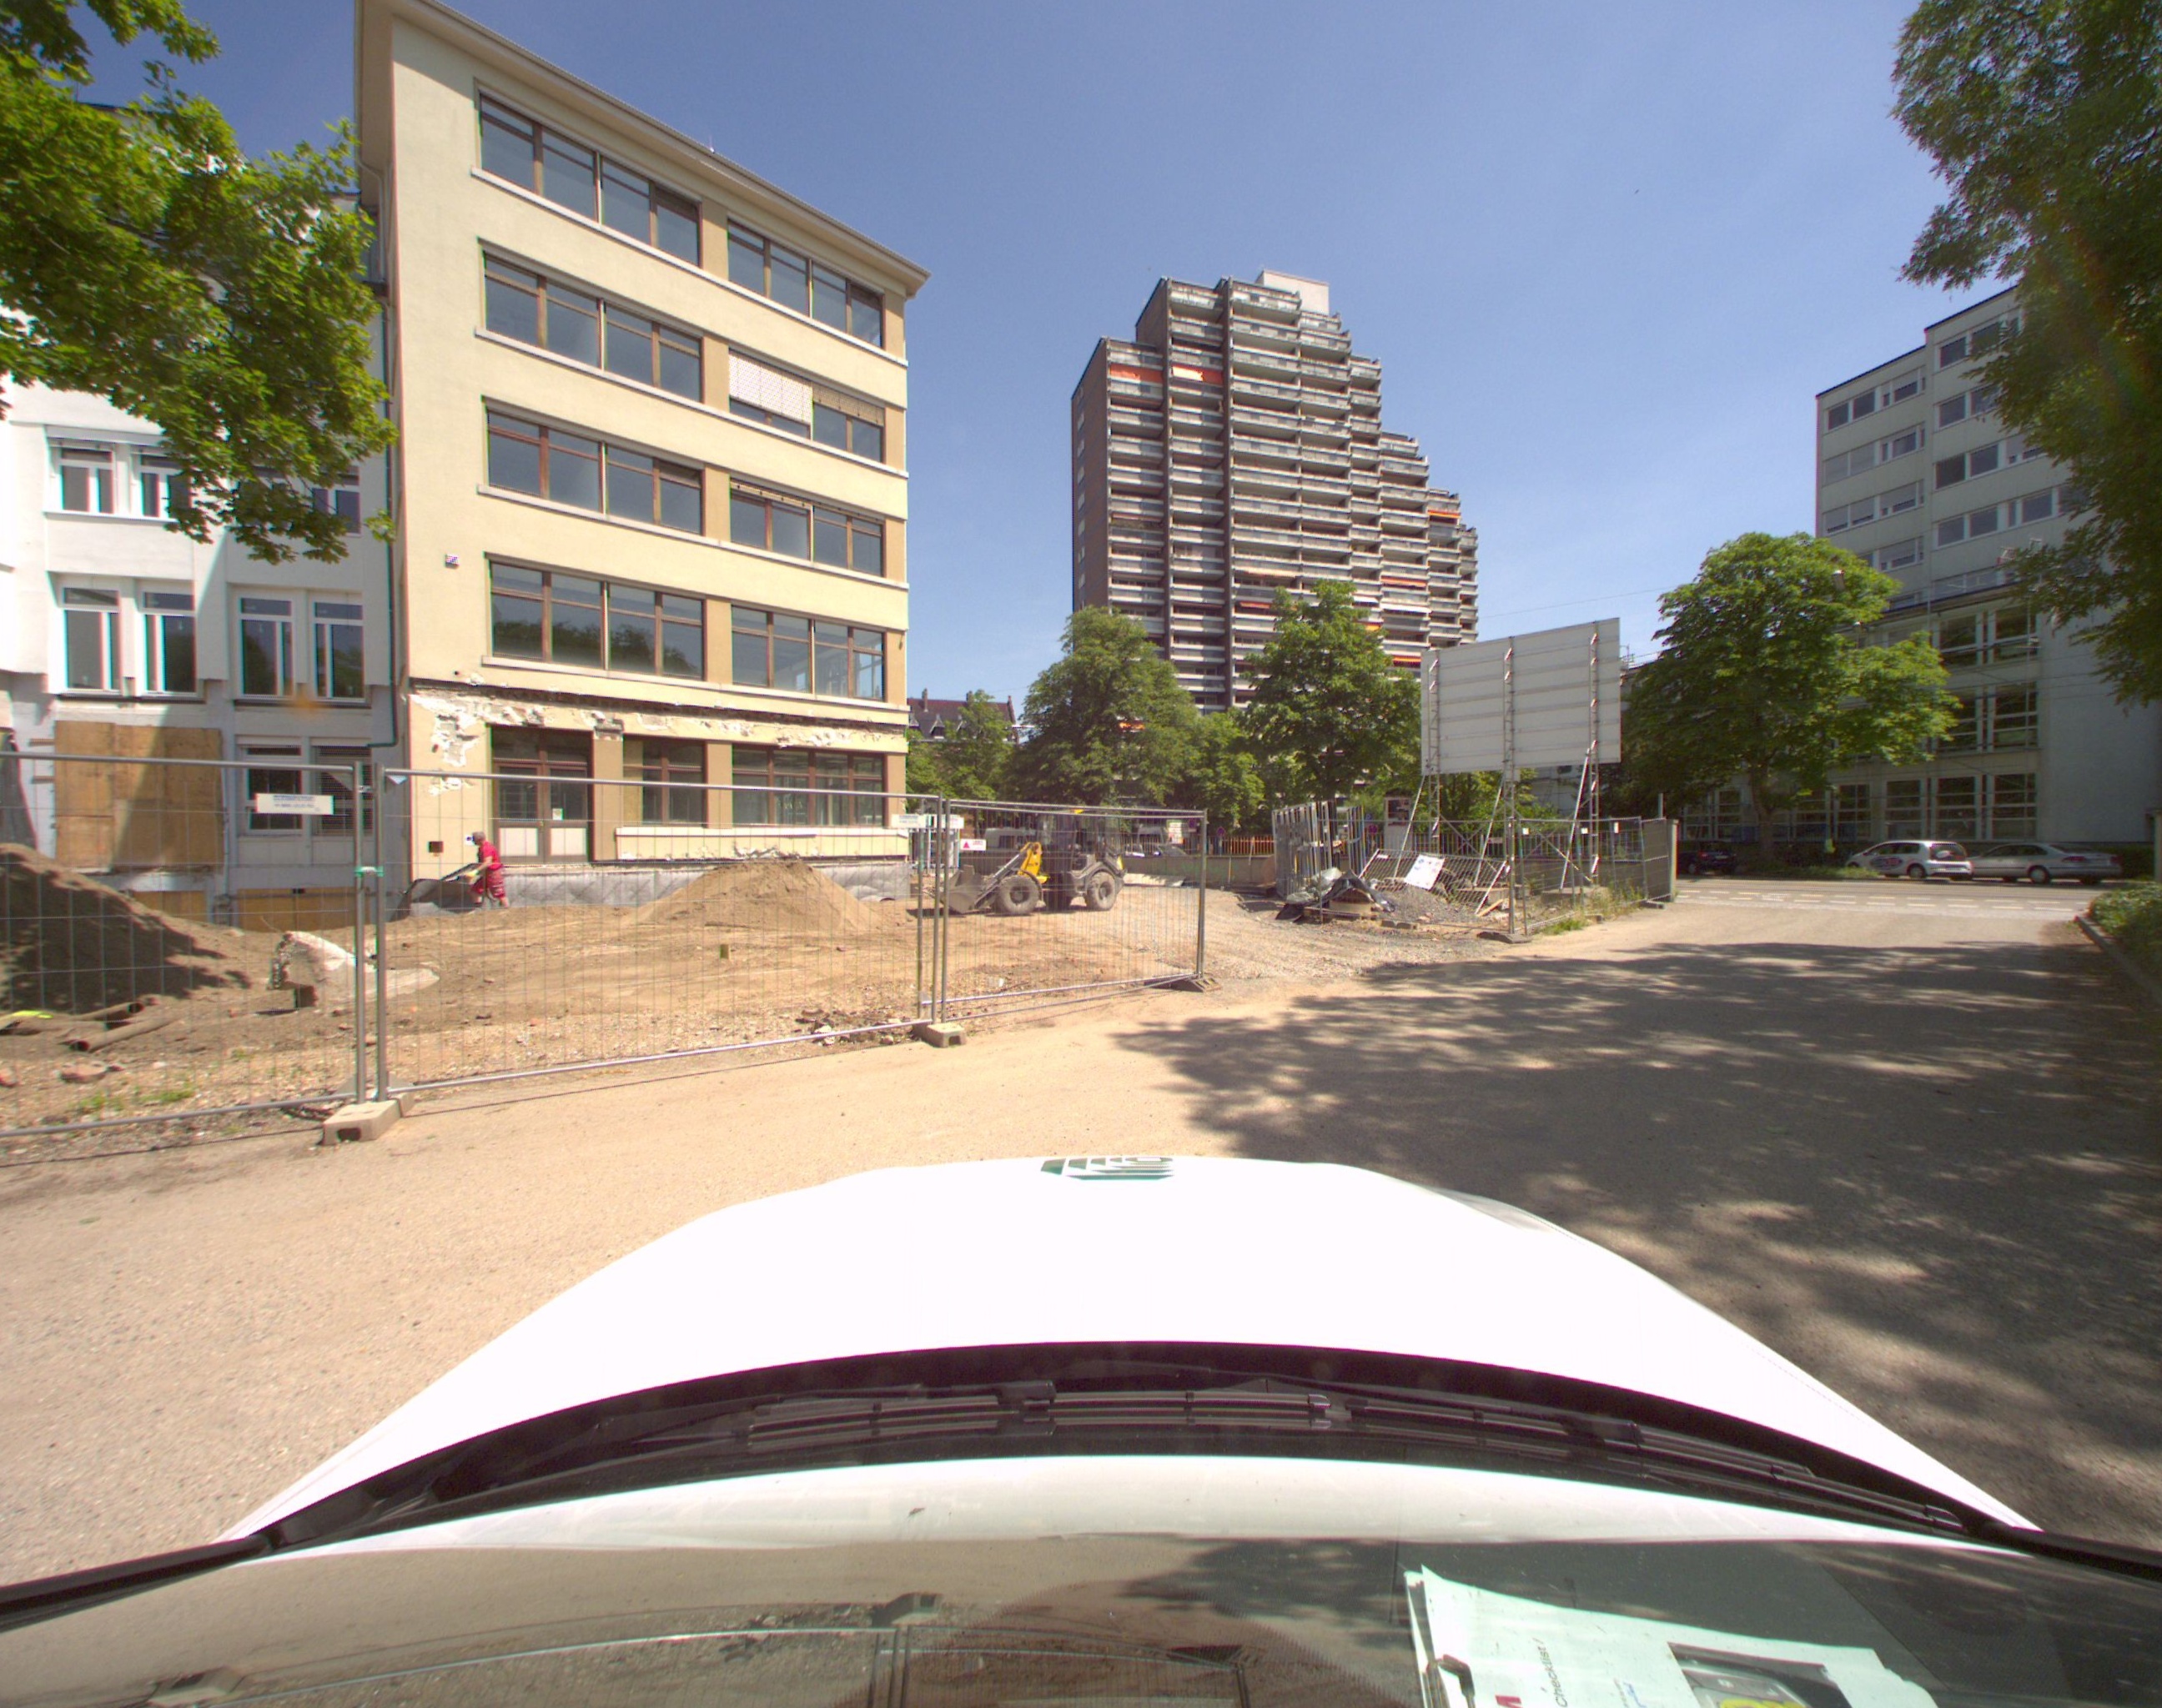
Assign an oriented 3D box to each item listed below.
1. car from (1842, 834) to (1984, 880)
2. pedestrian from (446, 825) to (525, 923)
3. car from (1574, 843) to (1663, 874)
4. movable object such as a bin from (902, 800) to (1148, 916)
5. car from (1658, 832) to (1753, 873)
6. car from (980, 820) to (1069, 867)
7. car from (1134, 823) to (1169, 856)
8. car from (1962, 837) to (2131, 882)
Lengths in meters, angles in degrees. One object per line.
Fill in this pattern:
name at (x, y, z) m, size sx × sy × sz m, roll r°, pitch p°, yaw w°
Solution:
car at (31.225, 0.085, 30.714) m, size 1.657 × 1.589 × 3.694 m, roll -1°, pitch 0°, yaw 2°
pedestrian at (-11.681, 0.370, 15.983) m, size 0.905 × 1.846 × 0.992 m, roll -1°, pitch 0°, yaw 36°
car at (24.554, 0.166, 37.382) m, size 1.903 × 1.310 × 3.940 m, roll -1°, pitch 0°, yaw 8°
movable object such as a bin at (-1.323, 0.084, 19.570) m, size 5.431 × 2.464 × 2.348 m, roll 1°, pitch 1°, yaw -26°
car at (26.944, -0.077, 35.313) m, size 1.995 × 1.629 × 3.948 m, roll -1°, pitch 0°, yaw 17°
car at (-3.161, -0.521, 44.416) m, size 2.011 × 2.416 × 5.180 m, roll -1°, pitch 0°, yaw -42°
car at (5.153, -1.033, 58.770) m, size 2.172 × 2.258 × 4.880 m, roll -1°, pitch 0°, yaw 8°
car at (33.151, 0.164, 28.133) m, size 1.656 × 1.415 × 3.717 m, roll -1°, pitch 0°, yaw 5°
